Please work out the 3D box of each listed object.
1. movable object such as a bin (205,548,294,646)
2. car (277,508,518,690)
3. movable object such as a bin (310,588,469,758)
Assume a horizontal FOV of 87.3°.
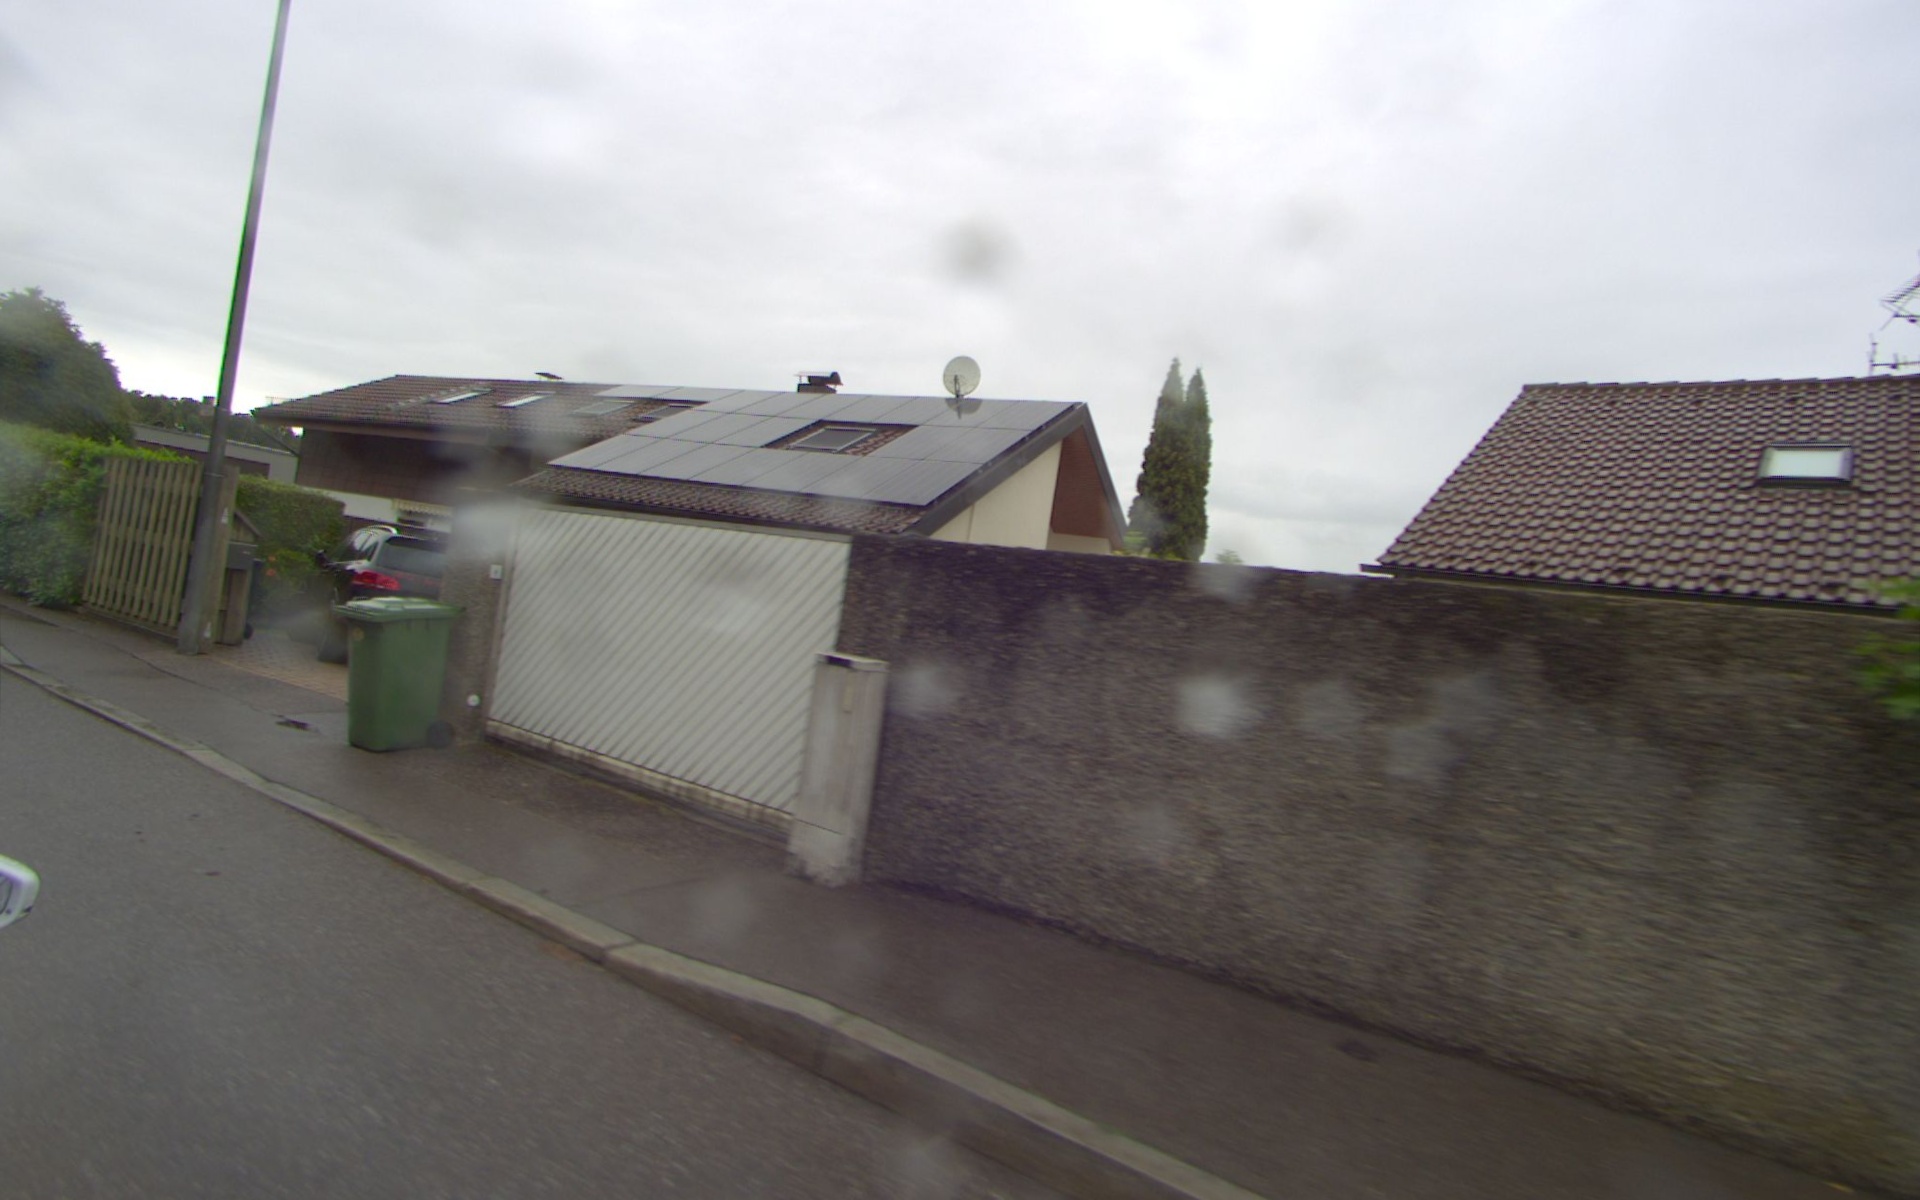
[{"bbox_3d":[-9.155,-0.045,12.955,0.745,1.115,0.812,12,-4,-37],"label":"movable object such as a bin"},{"bbox_3d":[-7.506,-0.036,13.188,1.986,1.737,4.367,12,-5,-36],"label":"car"},{"bbox_3d":[-4.127,0.522,7.293,0.590,1.102,0.738,8,1,36],"label":"movable object such as a bin"}]
